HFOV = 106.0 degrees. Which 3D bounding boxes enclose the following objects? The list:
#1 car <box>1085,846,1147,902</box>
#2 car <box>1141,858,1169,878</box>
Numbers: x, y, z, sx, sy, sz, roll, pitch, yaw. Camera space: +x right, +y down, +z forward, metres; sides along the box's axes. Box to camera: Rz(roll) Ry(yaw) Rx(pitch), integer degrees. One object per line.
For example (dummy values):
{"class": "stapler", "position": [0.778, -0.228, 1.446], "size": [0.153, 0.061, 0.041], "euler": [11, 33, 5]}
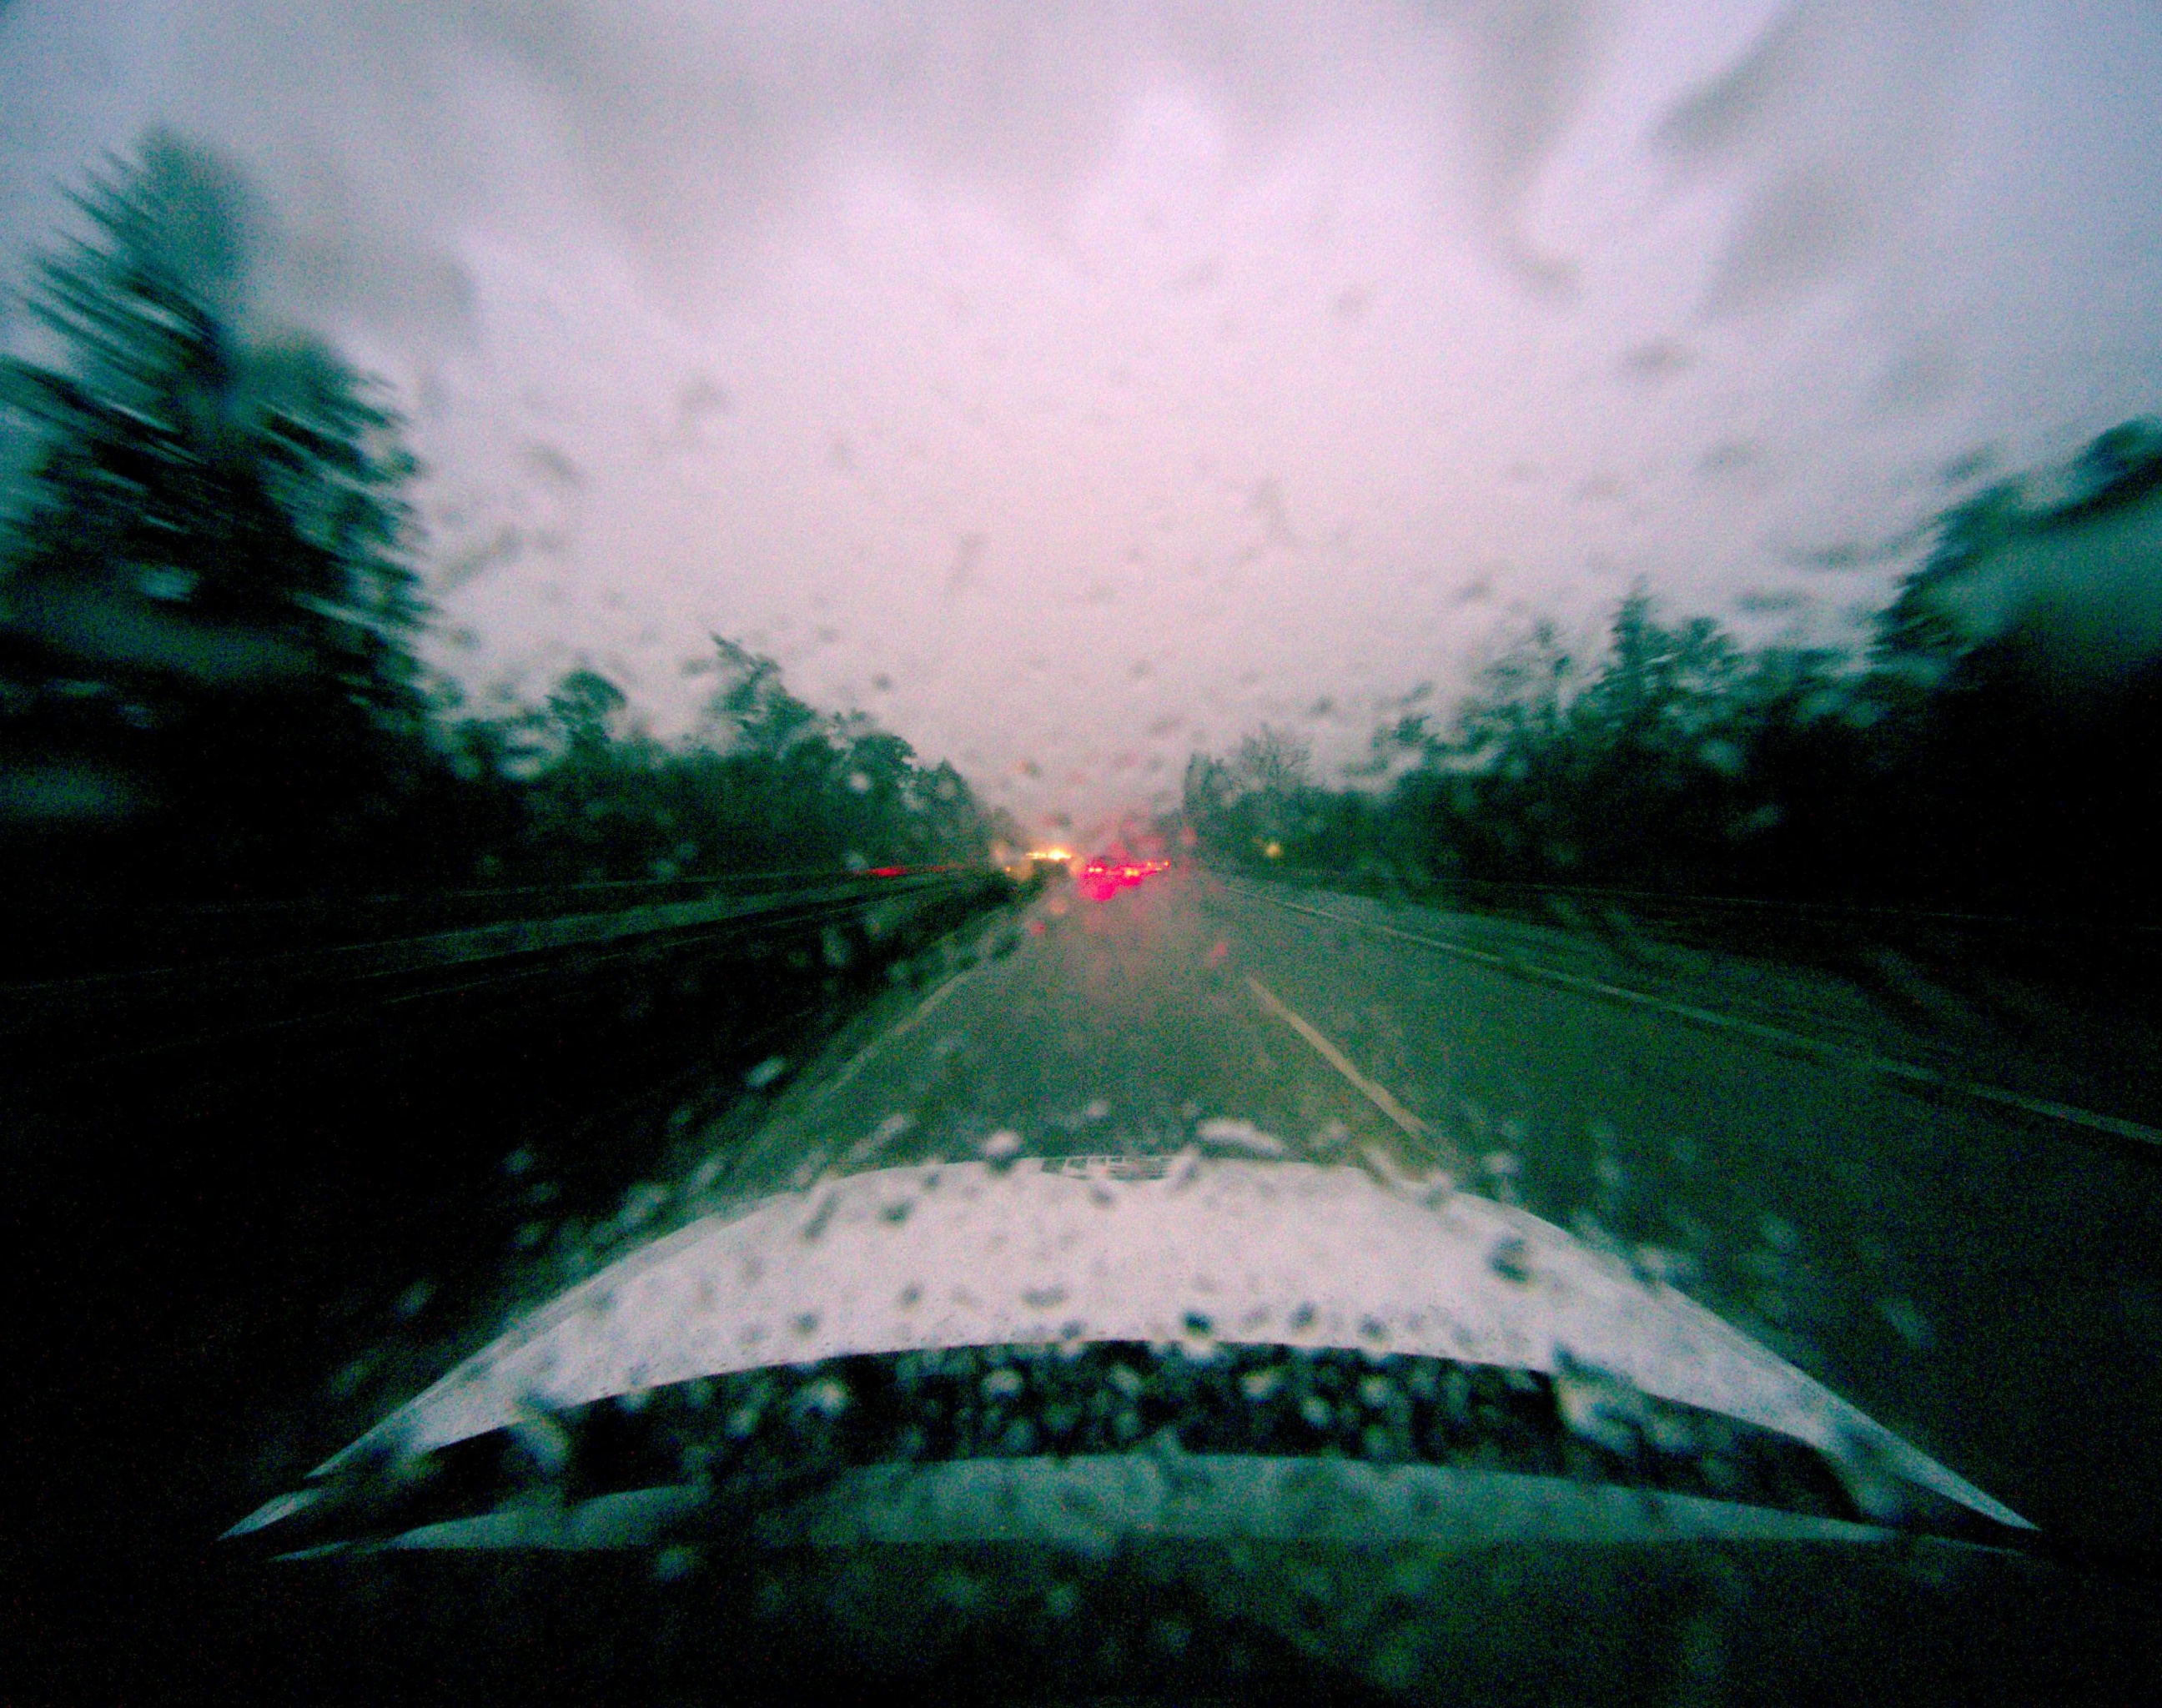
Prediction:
{"class": "car", "position": [1.183, 0.650, 28.405], "size": [1.979, 1.767, 4.175], "euler": [-1, 0, 2]}
{"class": "car", "position": [5.484, 1.017, 60.849], "size": [1.774, 1.437, 3.536], "euler": [-1, 0, -1]}
